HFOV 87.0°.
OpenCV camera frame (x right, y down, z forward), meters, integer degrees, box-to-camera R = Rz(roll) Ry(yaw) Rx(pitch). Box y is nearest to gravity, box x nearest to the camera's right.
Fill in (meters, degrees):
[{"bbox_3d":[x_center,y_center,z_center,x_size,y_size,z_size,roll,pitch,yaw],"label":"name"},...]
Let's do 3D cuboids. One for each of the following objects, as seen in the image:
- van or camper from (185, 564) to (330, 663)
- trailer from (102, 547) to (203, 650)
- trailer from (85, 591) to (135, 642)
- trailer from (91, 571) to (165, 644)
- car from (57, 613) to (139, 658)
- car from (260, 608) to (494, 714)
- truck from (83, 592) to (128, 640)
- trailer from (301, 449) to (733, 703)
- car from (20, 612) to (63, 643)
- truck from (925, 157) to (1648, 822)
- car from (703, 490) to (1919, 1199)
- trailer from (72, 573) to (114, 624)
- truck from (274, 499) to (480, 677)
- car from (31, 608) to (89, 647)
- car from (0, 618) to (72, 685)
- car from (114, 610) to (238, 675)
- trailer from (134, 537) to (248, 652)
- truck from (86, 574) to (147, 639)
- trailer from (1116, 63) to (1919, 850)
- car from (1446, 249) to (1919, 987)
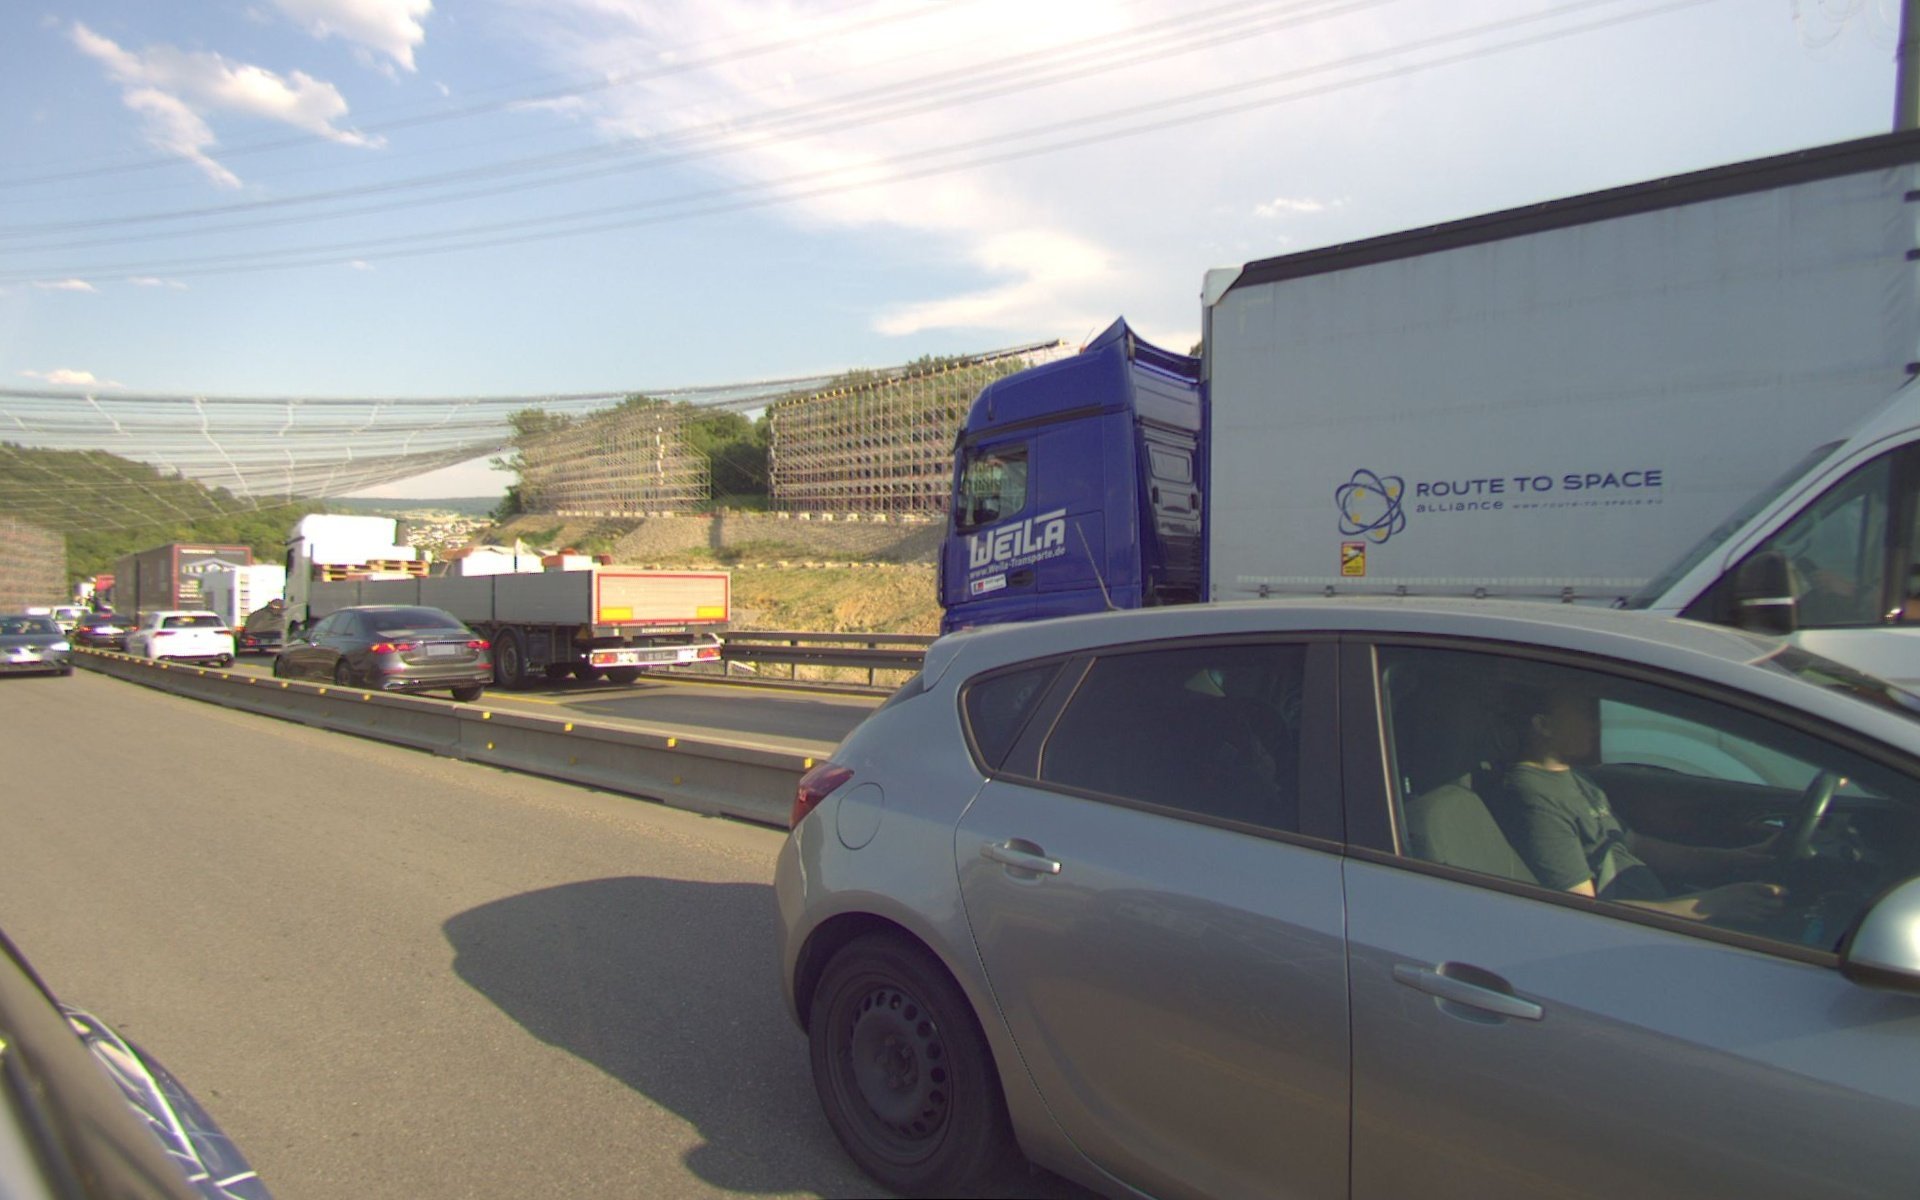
[{"bbox_3d":[-23.268,0.426,33.339,7.618,2.913,2.382,-1,-1,43],"label":"van or camper"},{"bbox_3d":[-38.076,-0.006,47.564,10.515,4.361,2.448,-1,-1,44],"label":"trailer"},{"bbox_3d":[-60.293,1.138,71.677,2.279,3.387,12.067,0,-1,-42],"label":"trailer"},{"bbox_3d":[-47.785,0.459,57.969,2.280,3.819,12.061,0,-1,-44],"label":"trailer"},{"bbox_3d":[-31.748,1.262,37.217,4.586,1.523,1.774,-1,-1,43],"label":"car"},{"bbox_3d":[-9.087,0.835,15.588,4.766,1.388,1.740,-1,-1,42],"label":"car"},{"bbox_3d":[-64.003,1.172,75.766,2.384,3.395,5.624,0,-1,-42],"label":"truck"},{"bbox_3d":[-9.794,-0.301,20.564,13.974,3.753,2.493,-1,-1,42],"label":"trailer"},{"bbox_3d":[-59.908,1.732,65.965,4.838,1.940,1.796,-1,-1,44],"label":"car"},{"bbox_3d":[2.548,-0.659,9.095,5.666,4.096,2.475,-1,-1,44],"label":"truck"},{"bbox_3d":[1.475,0.617,2.033,4.351,1.484,1.737,-1,-1,42],"label":"car"},{"bbox_3d":[-73.092,-0.077,85.222,2.398,3.993,14.116,0,-1,-42],"label":"trailer"},{"bbox_3d":[-14.385,-0.223,24.745,6.517,3.782,2.573,-1,-1,43],"label":"truck"},{"bbox_3d":[-42.306,1.256,47.546,4.455,1.708,1.737,-1,-1,44],"label":"car"},{"bbox_3d":[-21.480,1.111,22.953,3.824,1.394,1.740,-1,-1,44],"label":"car"},{"bbox_3d":[-20.031,1.019,25.790,4.253,1.519,1.740,-1,-1,41],"label":"car"},{"bbox_3d":[-31.246,-0.172,40.945,8.546,4.220,2.415,-1,-1,44],"label":"trailer"},{"bbox_3d":[-51.859,0.417,62.181,2.404,3.813,5.621,0,-1,-44],"label":"truck"},{"bbox_3d":[7.623,-0.781,4.694,14.589,4.162,2.283,-1,-1,40],"label":"trailer"},{"bbox_3d":[5.377,0.045,3.065,6.767,2.519,2.037,-1,-1,39],"label":"car"}]
